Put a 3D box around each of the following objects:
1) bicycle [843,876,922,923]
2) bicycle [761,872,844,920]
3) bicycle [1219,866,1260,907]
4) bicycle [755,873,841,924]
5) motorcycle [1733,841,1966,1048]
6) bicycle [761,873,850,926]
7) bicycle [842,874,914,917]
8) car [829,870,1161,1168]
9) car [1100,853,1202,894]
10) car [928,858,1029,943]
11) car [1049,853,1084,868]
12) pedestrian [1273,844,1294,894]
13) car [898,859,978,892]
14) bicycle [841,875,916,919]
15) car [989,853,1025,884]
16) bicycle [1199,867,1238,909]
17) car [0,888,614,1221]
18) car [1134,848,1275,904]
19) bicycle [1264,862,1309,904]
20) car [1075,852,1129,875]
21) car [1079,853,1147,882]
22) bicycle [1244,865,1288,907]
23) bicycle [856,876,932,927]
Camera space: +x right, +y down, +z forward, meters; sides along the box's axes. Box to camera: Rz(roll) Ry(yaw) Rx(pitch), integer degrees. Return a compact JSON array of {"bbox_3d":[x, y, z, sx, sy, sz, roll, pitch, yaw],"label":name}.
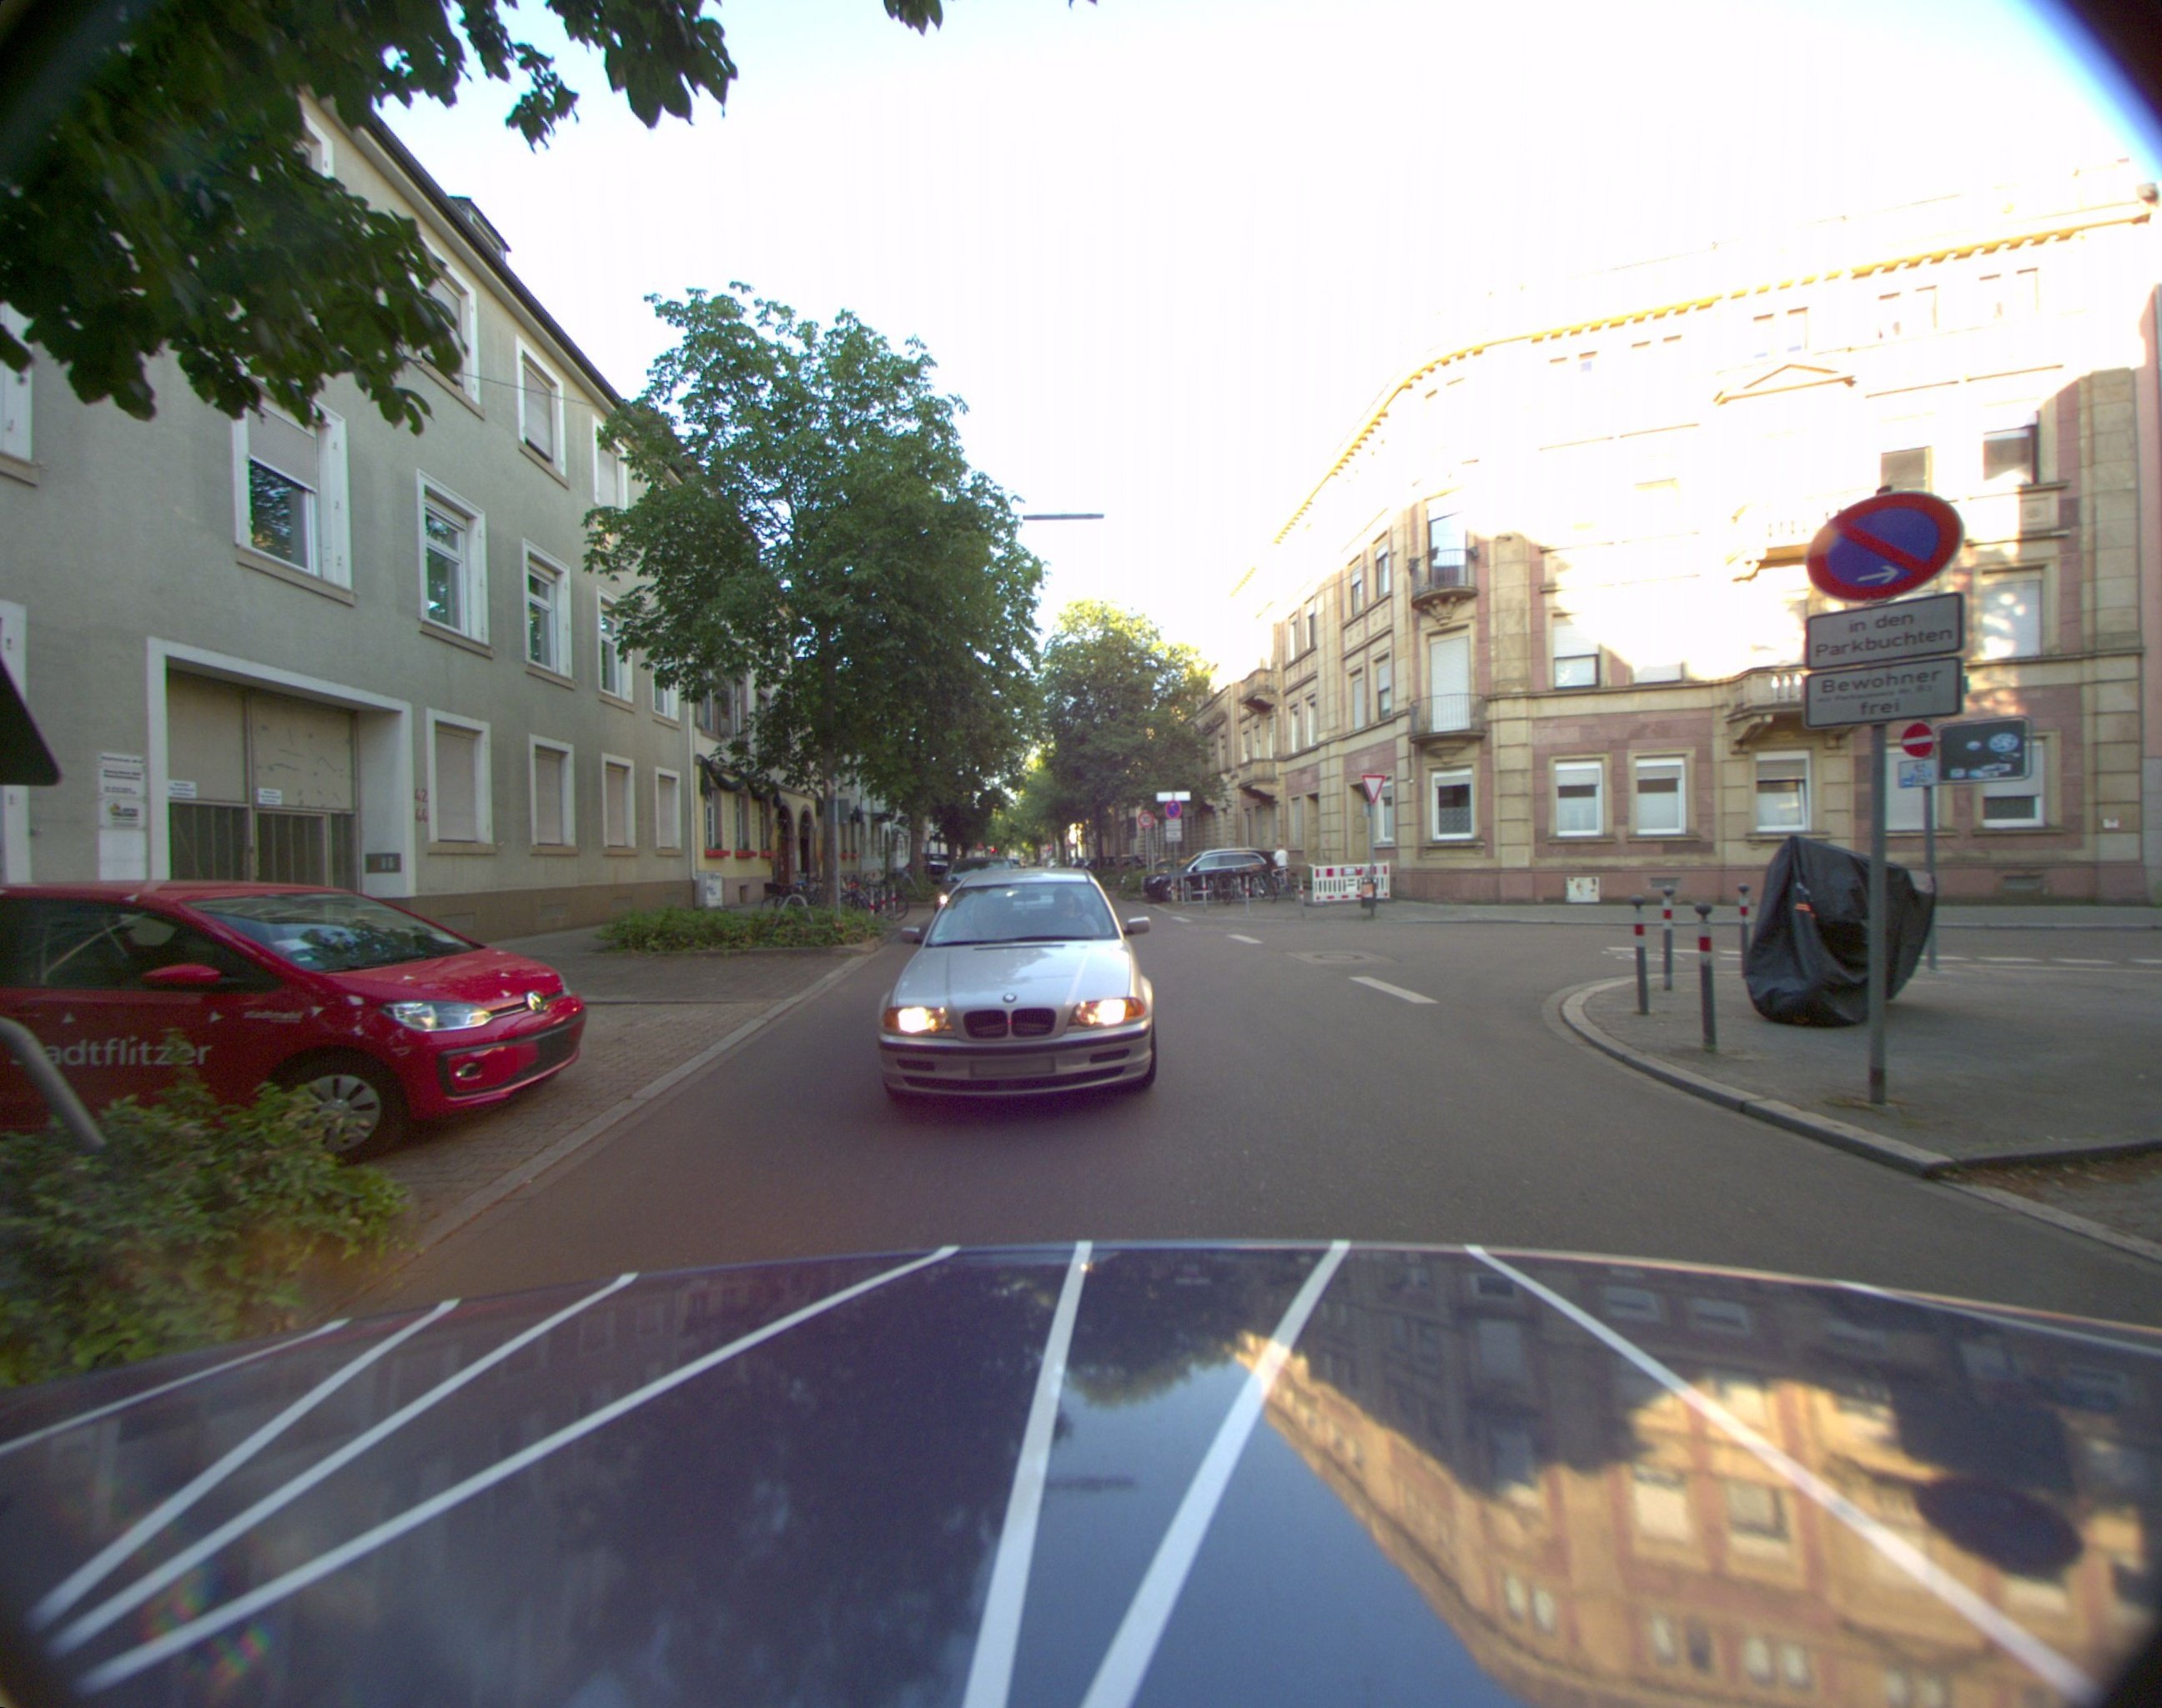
[{"bbox_3d":[-5.378,1.225,20.646,2.029,1.220,0.535,-1,1,-10],"label":"bicycle"},{"bbox_3d":[-7.532,1.120,20.633,2.029,1.220,0.535,-1,1,-12],"label":"bicycle"},{"bbox_3d":[4.691,0.938,22.609,0.562,1.144,2.039,-1,0,-6],"label":"bicycle"},{"bbox_3d":[-7.225,1.123,19.483,2.030,1.220,0.535,-1,1,-15],"label":"bicycle"},{"bbox_3d":[6.602,0.659,6.492,2.286,1.496,0.816,-1,1,-29],"label":"motorcycle"},{"bbox_3d":[-6.774,1.114,18.774,2.030,1.220,0.535,-1,1,-15],"label":"bicycle"},{"bbox_3d":[-6.059,1.224,22.806,2.029,1.220,0.535,-1,1,-10],"label":"bicycle"},{"bbox_3d":[-0.393,0.912,6.188,1.711,1.433,4.436,-1,0,1],"label":"car"},{"bbox_3d":[2.969,0.825,32.991,4.243,1.668,1.742,-1,0,0],"label":"car"},{"bbox_3d":[-2.059,0.888,16.273,1.806,1.543,3.999,-1,0,-3],"label":"car"},{"bbox_3d":[-1.842,0.842,93.507,4.245,1.749,1.741,-1,0,-4],"label":"car"},{"bbox_3d":[7.510,0.555,28.205,0.573,1.797,0.651,-1,1,1],"label":"pedestrian"},{"bbox_3d":[-7.994,1.184,42.714,4.245,1.729,1.741,-1,0,-5],"label":"car"},{"bbox_3d":[-5.828,1.226,21.933,2.029,1.220,0.535,-1,1,-10],"label":"bicycle"},{"bbox_3d":[-3.954,0.738,41.162,1.806,1.543,3.998,-1,0,-4],"label":"car"},{"bbox_3d":[4.051,0.981,22.549,0.562,1.144,2.039,-1,0,-6],"label":"bicycle"},{"bbox_3d":[-5.087,1.007,4.440,3.621,1.468,1.664,-1,0,-6],"label":"car"},{"bbox_3d":[4.070,0.710,25.559,4.423,1.771,1.741,-1,0,-2],"label":"car"},{"bbox_3d":[6.104,0.838,22.683,0.562,1.144,2.038,-1,0,-7],"label":"bicycle"},{"bbox_3d":[1.664,0.766,61.775,4.245,1.749,1.741,-1,0,-4],"label":"car"},{"bbox_3d":[2.054,0.874,49.298,4.245,1.749,1.741,-1,0,-4],"label":"car"},{"bbox_3d":[5.485,0.917,22.641,0.562,1.144,2.038,-1,0,-7],"label":"bicycle"},{"bbox_3d":[-4.770,1.201,19.399,1.849,1.220,0.535,-1,1,-15],"label":"bicycle"}]
